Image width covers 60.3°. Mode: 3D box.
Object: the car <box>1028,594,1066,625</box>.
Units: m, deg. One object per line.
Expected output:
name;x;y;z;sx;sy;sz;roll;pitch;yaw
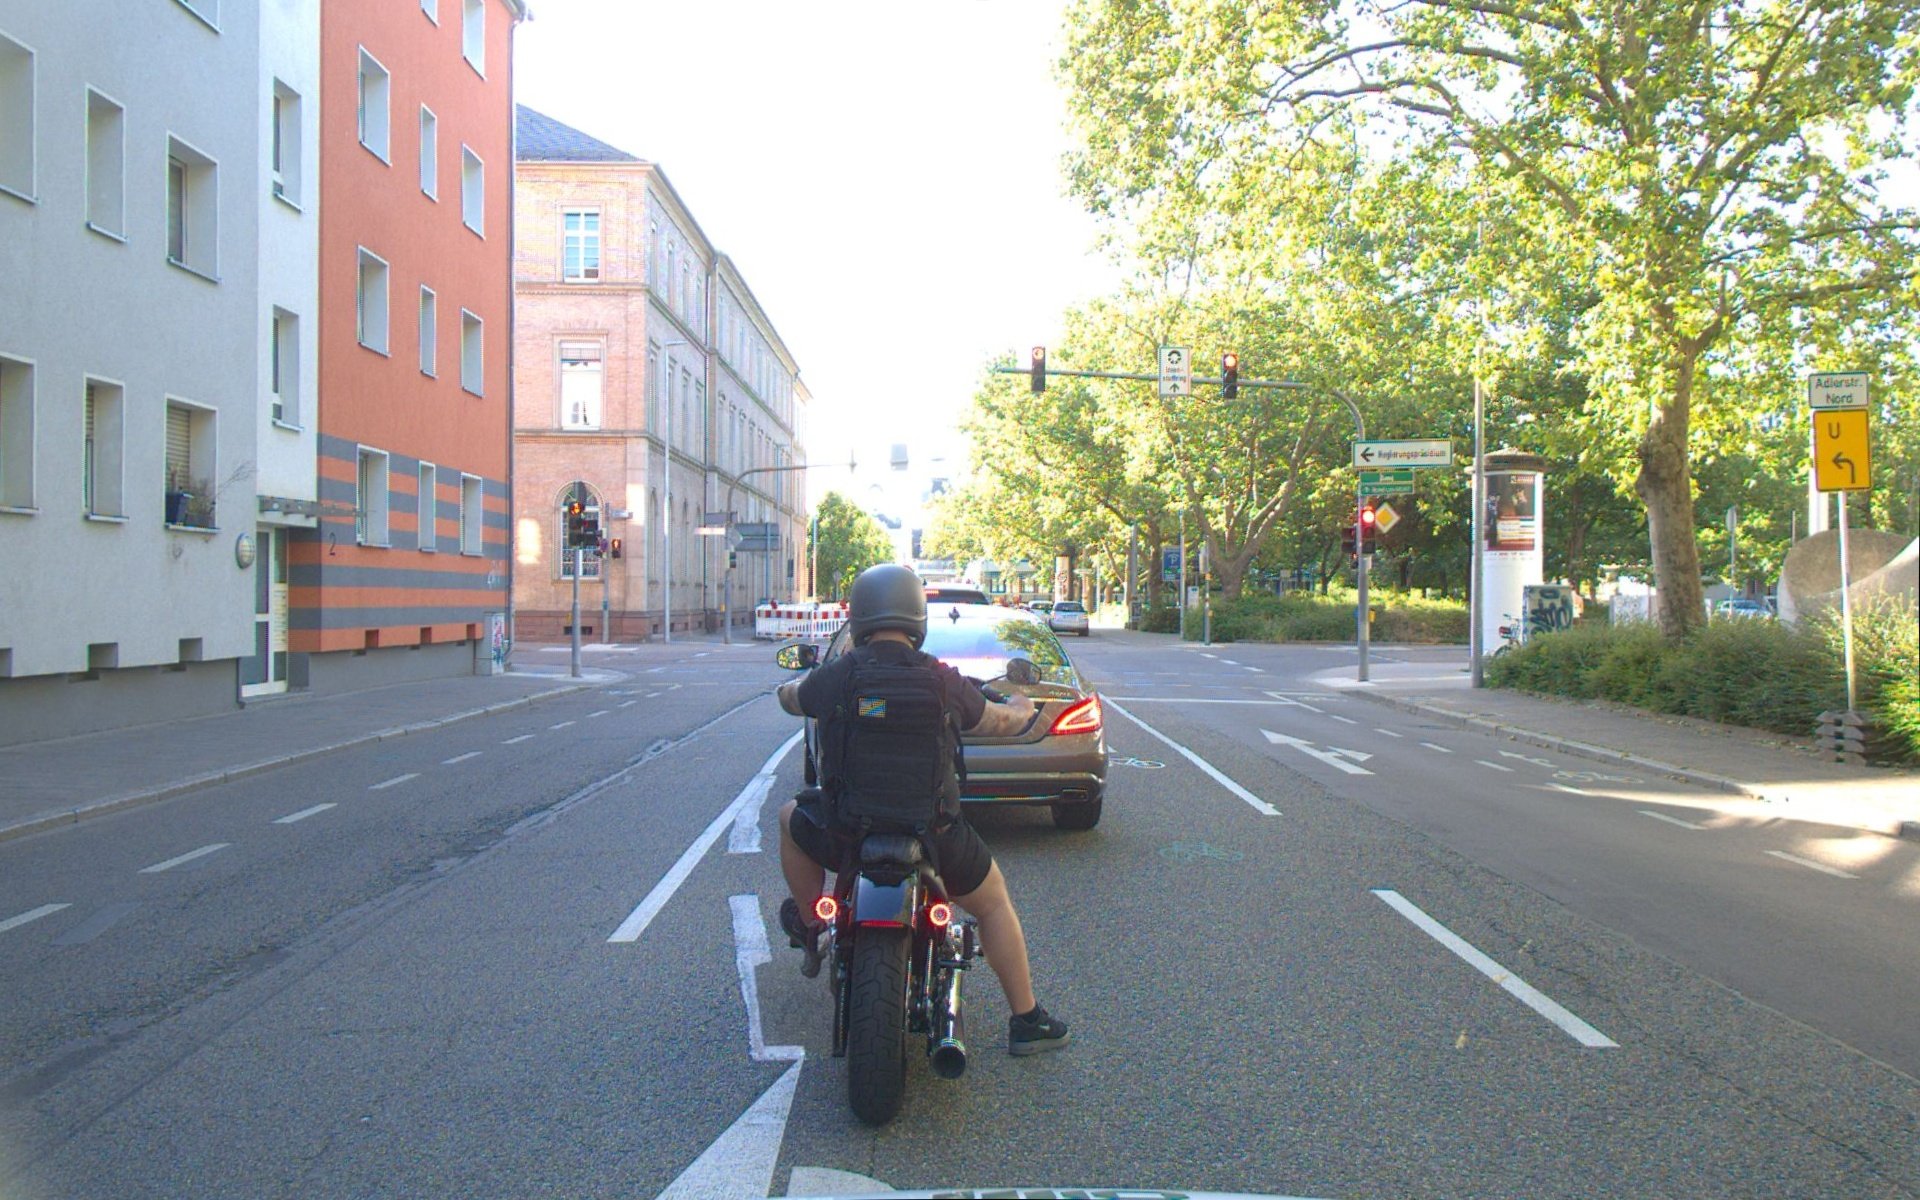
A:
car;4.479;0.493;85.337;1.817;1.512;3.908;1;0;1

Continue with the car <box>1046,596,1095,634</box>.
car;4.585;0.625;69.220;1.784;1.506;3.908;-1;0;0

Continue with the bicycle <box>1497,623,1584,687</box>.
bicycle;9.744;0.920;27.775;1.324;1.041;0.363;0;0;0

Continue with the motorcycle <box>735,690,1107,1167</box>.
motorcycle;-0.117;0.923;5.547;0.969;1.097;2.451;0;0;-1

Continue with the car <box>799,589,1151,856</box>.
car;-0.113;0.681;11.587;1.909;1.498;4.355;0;0;-7

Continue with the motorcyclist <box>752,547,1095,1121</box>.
motorcyclist;-0.113;0.660;5.393;0.969;1.625;1.403;0;0;-1

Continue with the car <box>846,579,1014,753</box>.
car;-0.335;0.615;17.751;1.580;1.636;4.327;0;0;-2

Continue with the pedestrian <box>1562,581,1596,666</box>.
pedestrian;13.817;0.515;36.943;0.540;1.881;0.593;0;0;0
